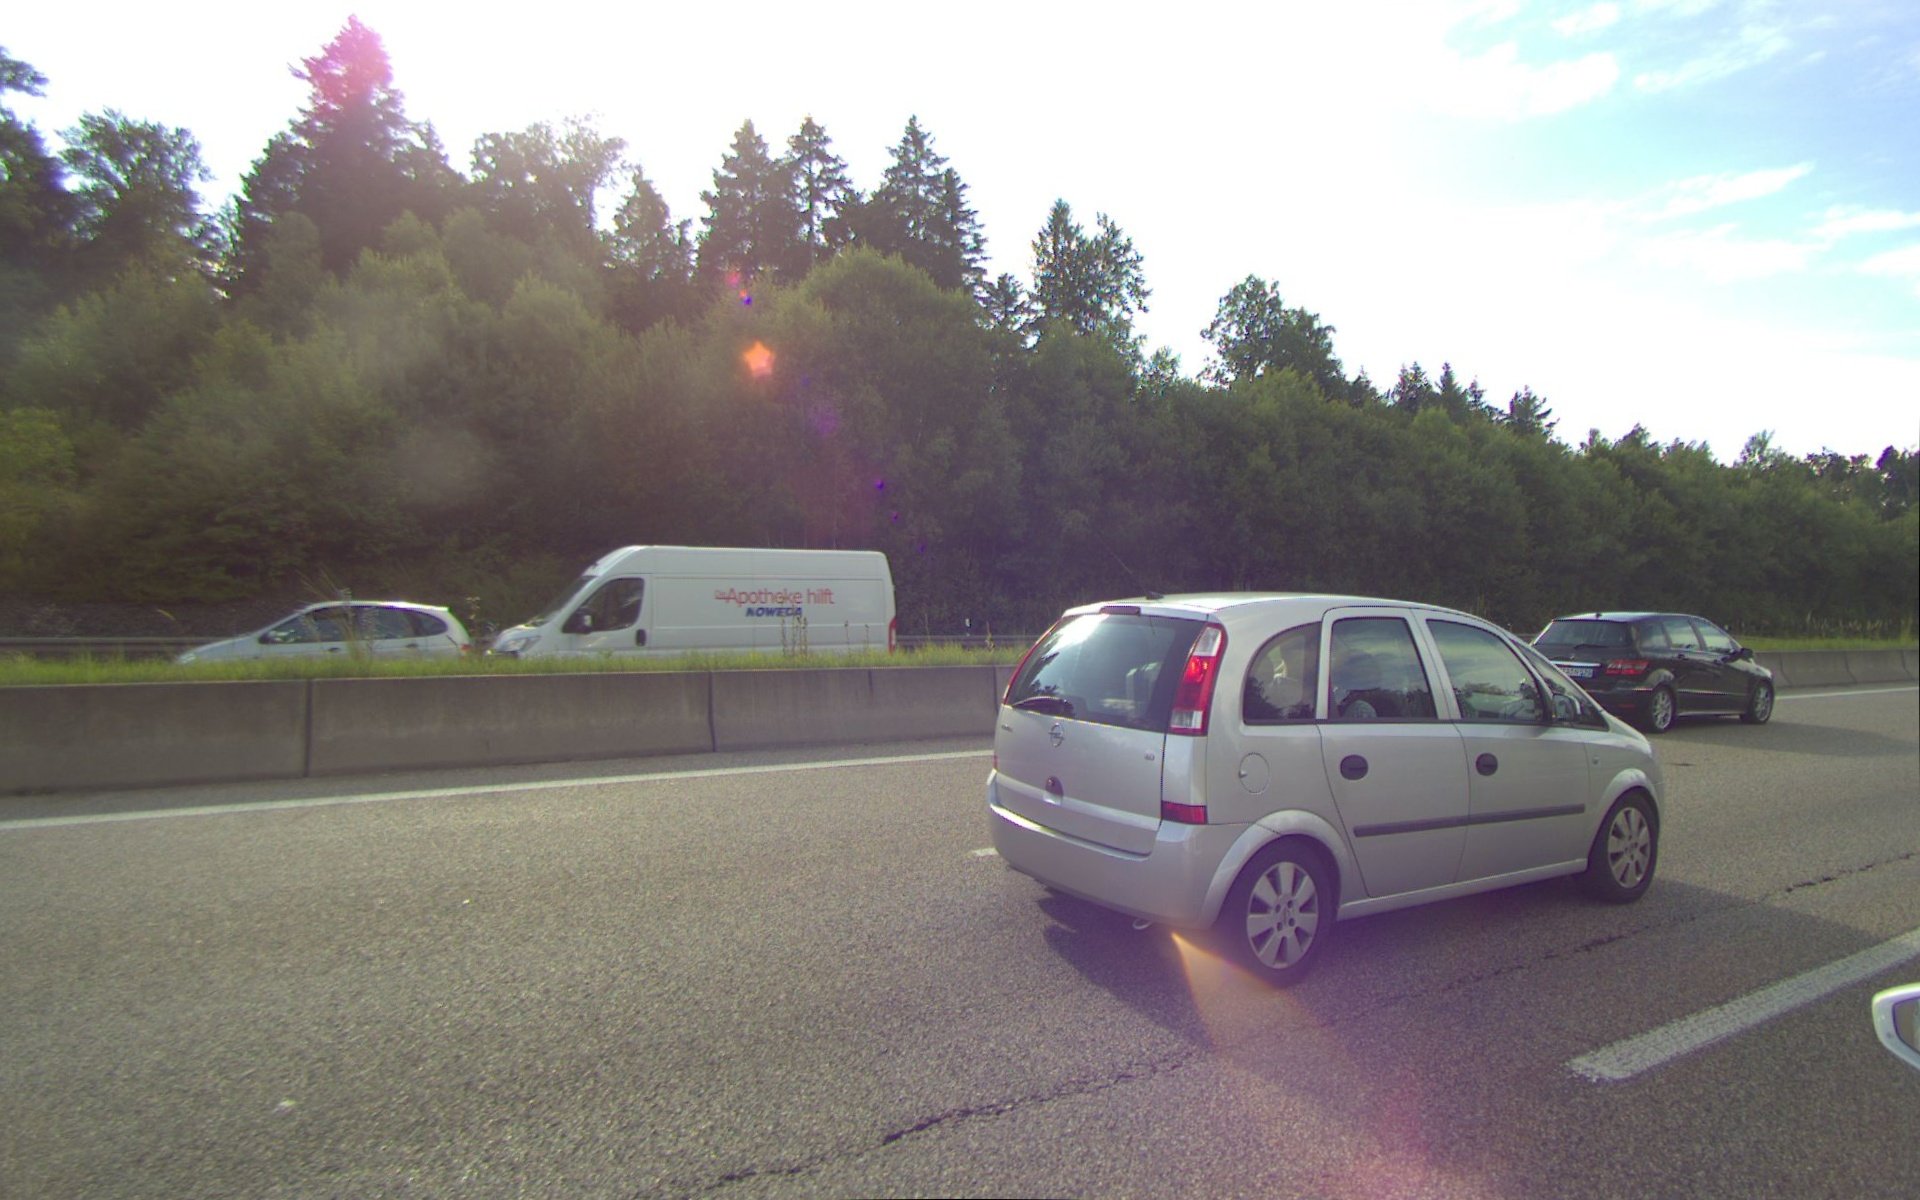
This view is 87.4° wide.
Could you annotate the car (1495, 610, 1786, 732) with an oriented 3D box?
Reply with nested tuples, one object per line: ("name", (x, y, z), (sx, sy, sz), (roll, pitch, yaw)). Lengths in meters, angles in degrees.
("car", (9.929, 0.938, 14.589), (4.282, 1.537, 1.827), (1, -1, -30))

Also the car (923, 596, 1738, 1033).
("car", (2.113, 0.793, 5.416), (4.282, 1.537, 1.827), (1, -1, -30))

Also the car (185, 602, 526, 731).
("car", (-9.520, 0.982, 16.196), (4.440, 1.829, 1.915), (1, -1, -30))

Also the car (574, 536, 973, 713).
("car", (-2.914, 0.376, 16.060), (5.760, 2.377, 2.567), (1, -1, -30))
